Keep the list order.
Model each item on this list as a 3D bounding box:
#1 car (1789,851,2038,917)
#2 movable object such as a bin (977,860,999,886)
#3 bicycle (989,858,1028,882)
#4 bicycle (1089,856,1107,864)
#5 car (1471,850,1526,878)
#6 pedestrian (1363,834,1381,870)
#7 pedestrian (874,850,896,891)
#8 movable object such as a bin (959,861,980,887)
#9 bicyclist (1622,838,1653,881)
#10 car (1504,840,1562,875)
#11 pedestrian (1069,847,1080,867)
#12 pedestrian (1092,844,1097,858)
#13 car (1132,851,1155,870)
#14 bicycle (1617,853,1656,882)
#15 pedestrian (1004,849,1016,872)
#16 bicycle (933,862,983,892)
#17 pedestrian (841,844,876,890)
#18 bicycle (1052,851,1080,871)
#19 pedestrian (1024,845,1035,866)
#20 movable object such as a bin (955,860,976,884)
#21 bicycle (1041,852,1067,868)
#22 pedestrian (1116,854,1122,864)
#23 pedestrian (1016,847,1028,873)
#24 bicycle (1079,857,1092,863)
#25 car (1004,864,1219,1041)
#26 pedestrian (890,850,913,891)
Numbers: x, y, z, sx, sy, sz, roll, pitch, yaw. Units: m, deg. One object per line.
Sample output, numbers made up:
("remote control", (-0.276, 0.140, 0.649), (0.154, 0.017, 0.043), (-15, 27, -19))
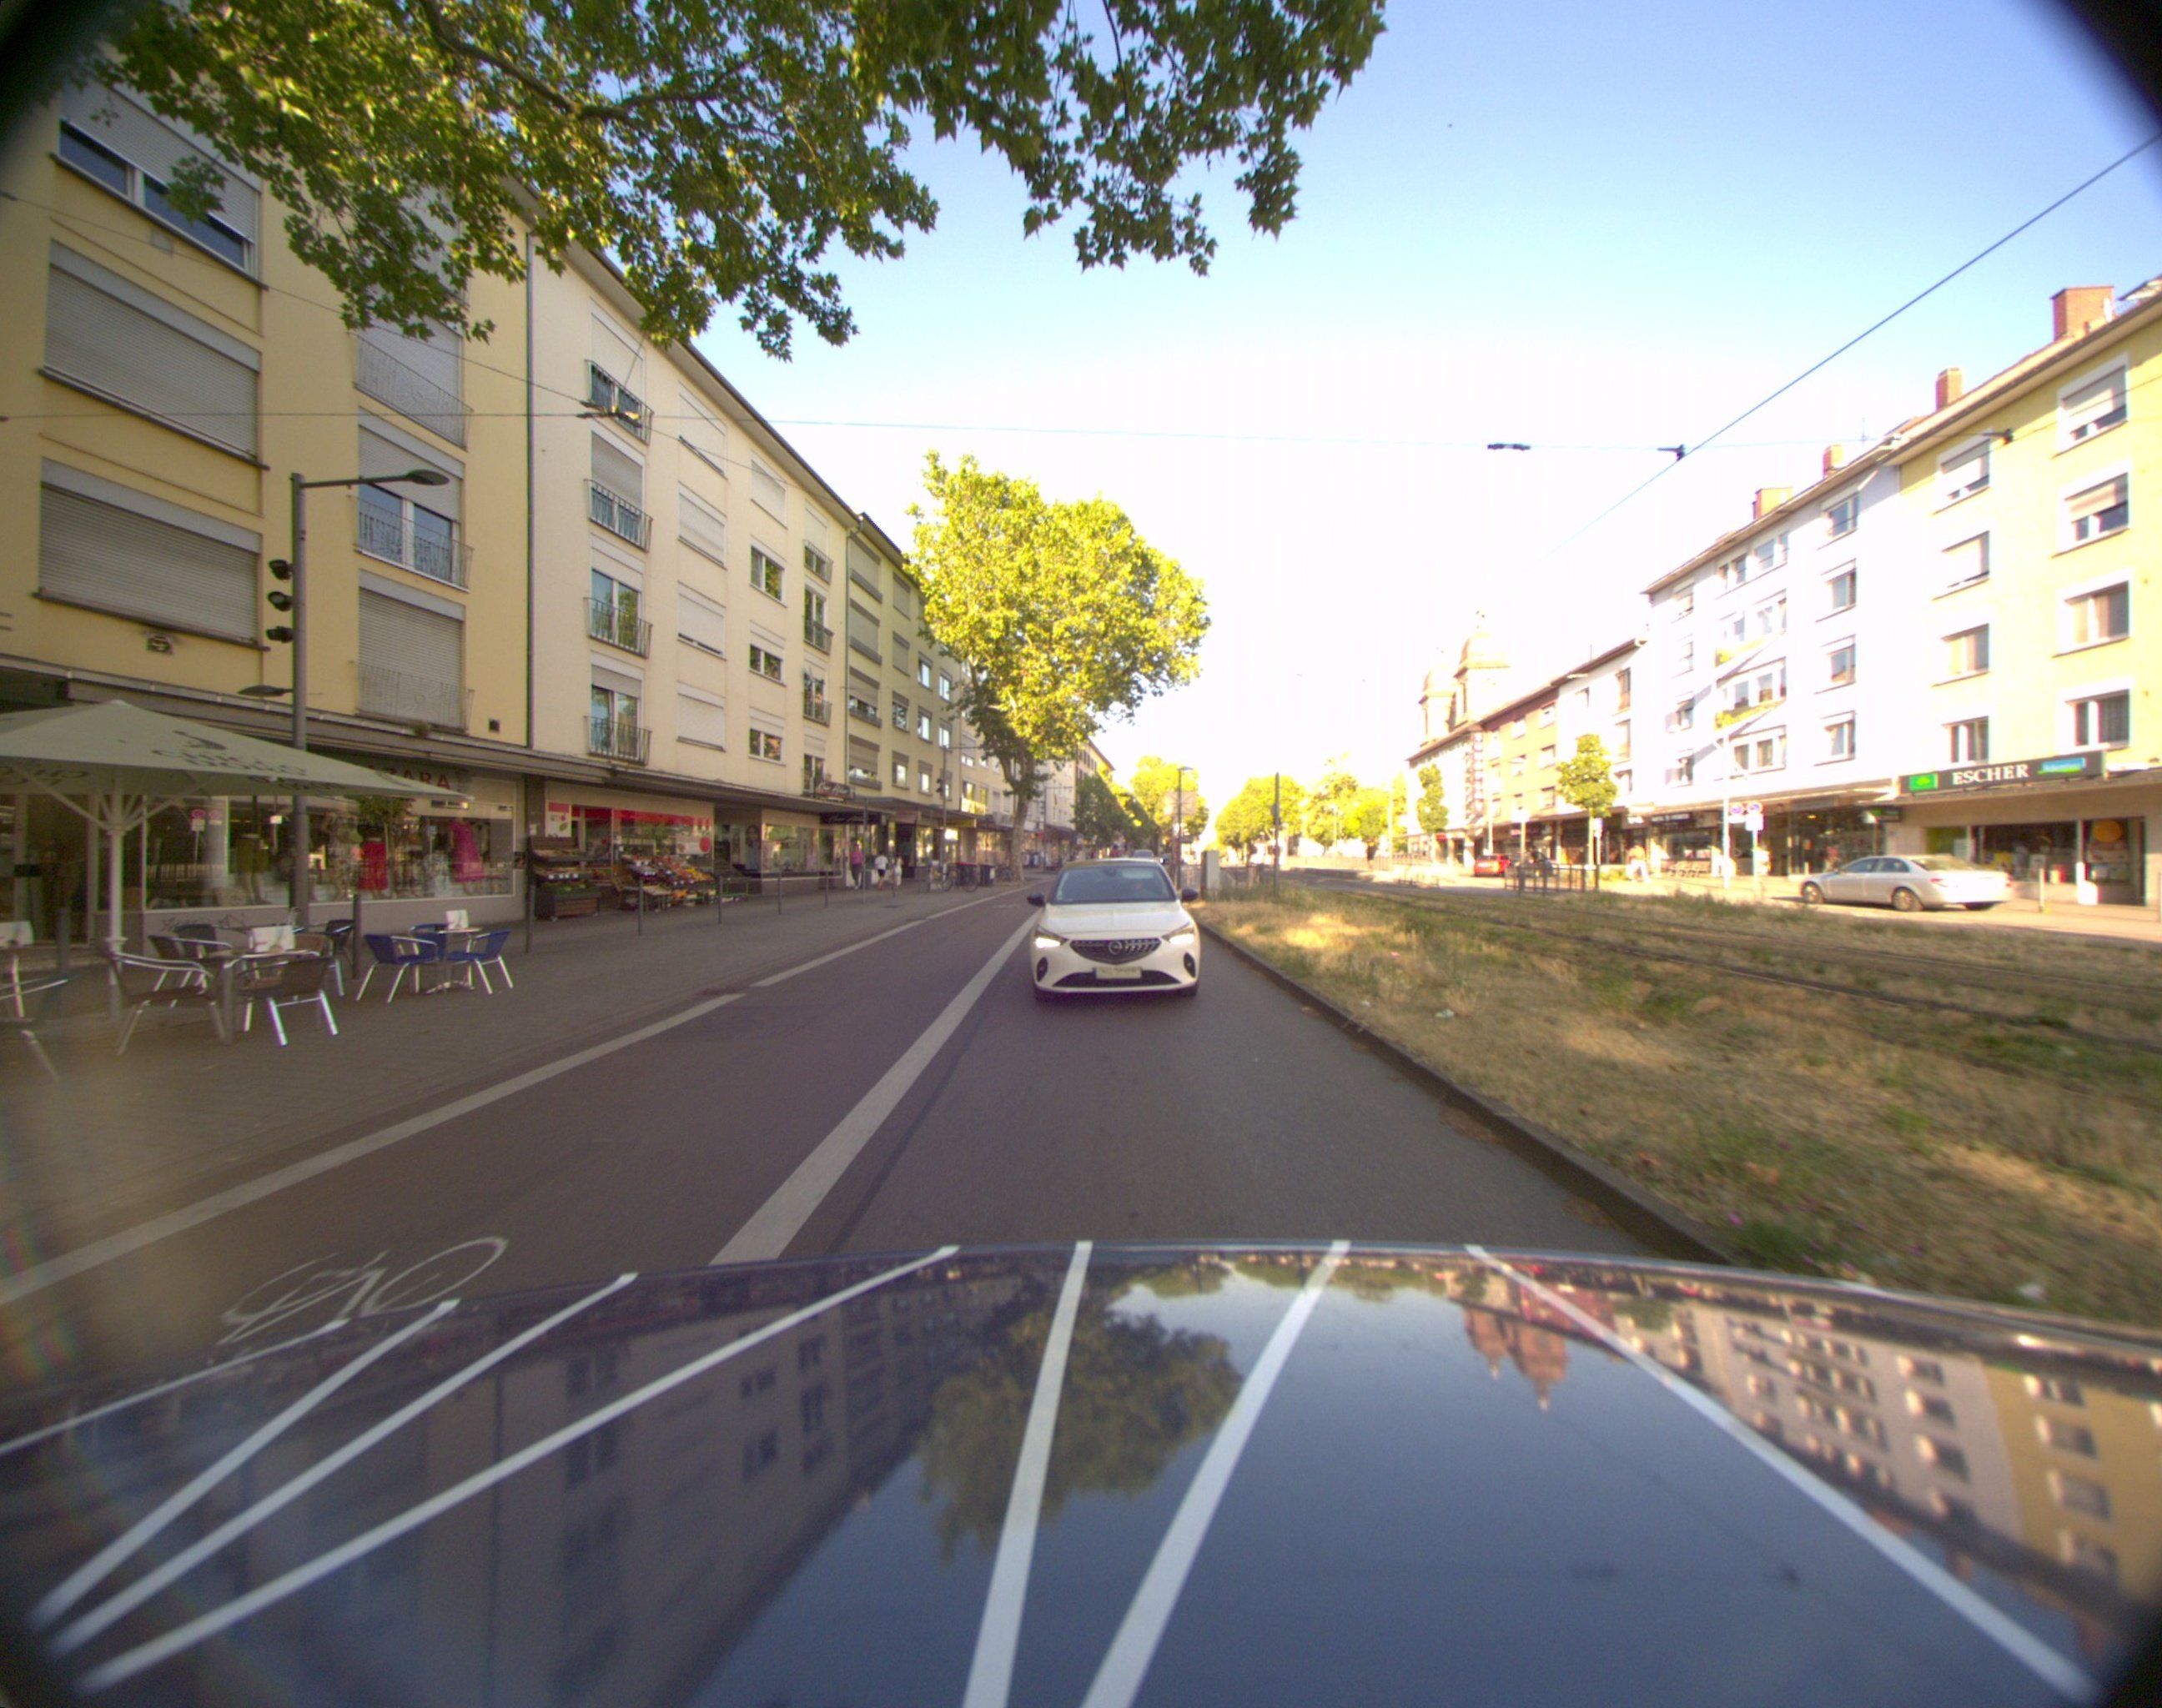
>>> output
("car", (21.817, 0.703, 20.242), (1.998, 1.469, 4.412), (-2, 0, 5))
("movable object such as a bin", (-4.223, 0.867, 34.553), (0.723, 1.096, 0.645), (4, 2, 15))
("bicycle", (-3.512, 0.755, 36.823), (1.721, 1.111, 0.745), (0, 4, 8))
("bicycle", (1.713, 0.601, 76.958), (1.762, 0.773, 0.702), (1, 0, -14))
("car", (25.555, 0.623, 46.477), (3.777, 1.482, 1.859), (-3, 1, -43))
("pedestrian", (15.028, -0.090, 39.270), (0.743, 1.838, 0.590), (0, 1, 3))
("pedestrian", (-7.760, 0.636, 30.083), (0.623, 1.577, 0.627), (2, 1, 7))
("movable object such as a bin", (-5.044, 0.906, 34.512), (0.723, 1.066, 0.644), (5, 2, 6))
("bicyclist", (25.199, 0.226, 34.422), (0.693, 1.876, 1.058), (-4, 1, 17))
("car", (25.882, 0.185, 43.445), (3.777, 1.789, 1.859), (-3, 1, -43))
("pedestrian", (-0.626, 0.261, 71.546), (0.774, 1.789, 0.931), (3, 1, 10))
("pedestrian", (1.542, -0.382, 85.615), (0.490, 1.559, 0.649), (2, 1, 10))
("car", (4.854, 0.469, 59.150), (1.717, 1.390, 4.001), (-2, 0, 4))
("bicycle", (25.296, 0.591, 34.634), (0.706, 1.152, 2.200), (-4, 1, 17))
("pedestrian", (-4.639, 0.406, 49.501), (0.541, 1.493, 0.896), (2, 0, 8))
("bicycle", (-4.970, 0.933, 30.664), (1.909, 1.098, 0.519), (2, 1, 14))
("pedestrian", (-8.901, 0.506, 30.463), (0.969, 1.753, 1.134), (1, 2, 9))
("bicycle", (-1.105, 0.527, 55.781), (1.788, 1.304, 0.695), (6, 2, 20))
("pedestrian", (-4.096, 0.119, 60.564), (0.569, 1.665, 1.070), (2, 1, 9))
("movable object such as a bin", (-5.377, 0.818, 35.370), (0.722, 1.066, 0.645), (2, 2, 26))
("bicycle", (-2.009, 0.452, 56.936), (1.794, 1.118, 0.663), (4, 1, -19))
("pedestrian", (6.348, 0.789, 127.160), (0.851, 1.645, 0.916), (-2, 1, 8))
("pedestrian", (-3.788, 0.386, 49.074), (0.547, 1.619, 0.896), (2, 0, 8))
("bicycle", (0.459, 0.607, 77.163), (0.840, 0.569, 1.758), (1, 0, -14))
("car", (0.333, 0.886, 8.552), (1.826, 1.433, 3.828), (-2, 0, 2))
("pedestrian", (-7.097, 0.635, 30.041), (0.636, 1.577, 0.627), (2, 1, 7))
